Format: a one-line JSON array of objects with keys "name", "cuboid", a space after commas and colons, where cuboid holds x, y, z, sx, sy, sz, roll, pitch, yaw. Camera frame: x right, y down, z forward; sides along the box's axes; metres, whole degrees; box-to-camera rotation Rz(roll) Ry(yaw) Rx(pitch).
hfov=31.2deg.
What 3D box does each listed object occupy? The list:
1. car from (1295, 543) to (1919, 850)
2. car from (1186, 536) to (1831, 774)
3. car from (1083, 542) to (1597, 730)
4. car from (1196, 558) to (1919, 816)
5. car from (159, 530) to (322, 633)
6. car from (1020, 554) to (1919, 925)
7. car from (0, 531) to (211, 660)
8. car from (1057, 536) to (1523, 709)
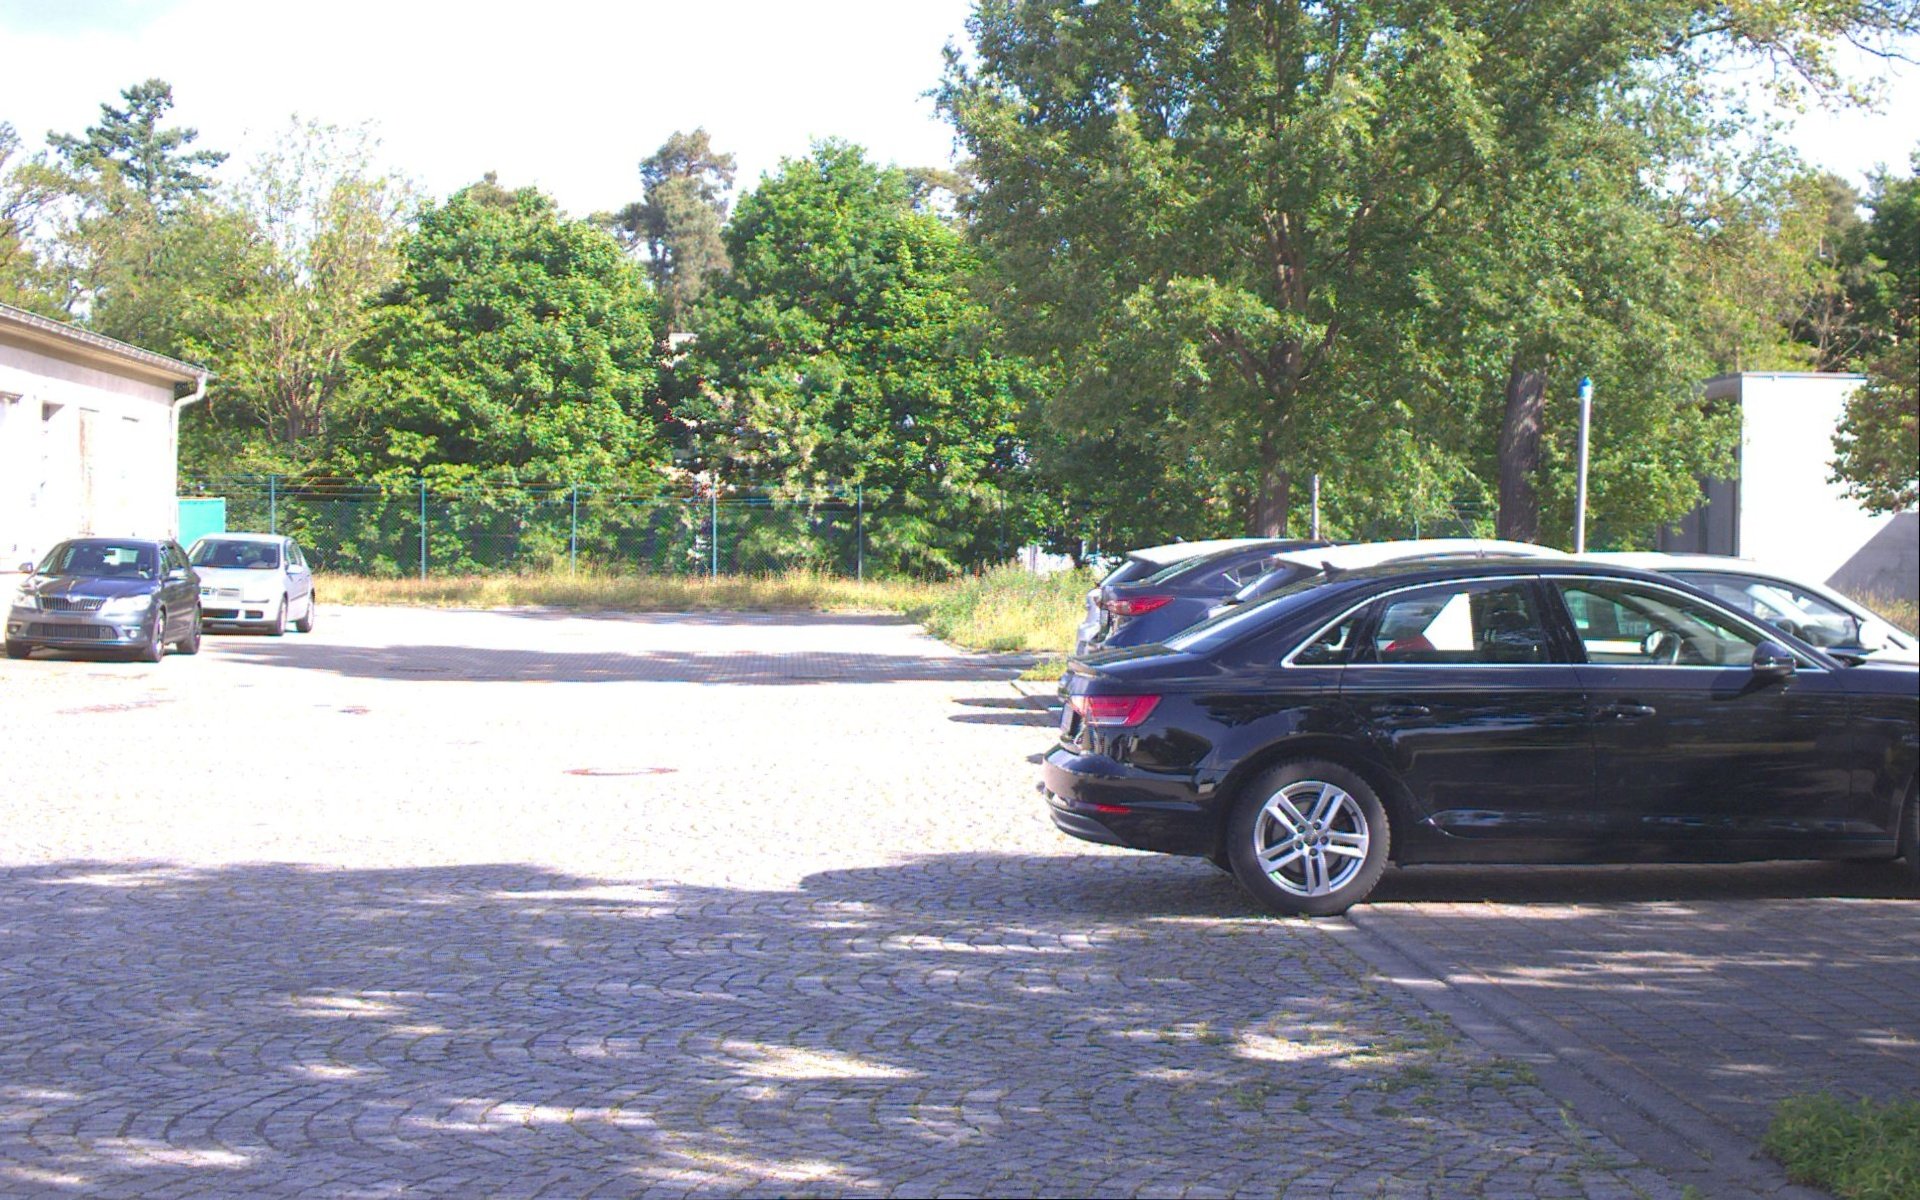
[{"name": "car", "cuboid": [3.850, 0.454, 17.603, 4.138, 1.455, 1.691, -1, 1, 3]}, {"name": "car", "cuboid": [3.534, 0.331, 22.625, 3.912, 1.441, 1.756, -1, 1, -2]}, {"name": "car", "cuboid": [3.013, 0.267, 27.787, 3.912, 1.412, 1.692, -1, 1, -2]}, {"name": "car", "cuboid": [3.425, 0.471, 20.047, 3.912, 1.367, 1.728, -1, 1, -2]}, {"name": "car", "cuboid": [-10.625, -0.293, 50.998, 1.687, 1.430, 3.987, 1, 1, -2]}, {"name": "car", "cuboid": [2.695, 0.542, 14.820, 4.718, 1.418, 1.757, -1, 1, -4]}, {"name": "car", "cuboid": [-10.204, -0.085, 41.053, 1.763, 1.430, 3.992, 1, 1, -2]}, {"name": "car", "cuboid": [2.878, 0.180, 30.597, 3.912, 1.430, 1.796, -1, 1, -2]}]
